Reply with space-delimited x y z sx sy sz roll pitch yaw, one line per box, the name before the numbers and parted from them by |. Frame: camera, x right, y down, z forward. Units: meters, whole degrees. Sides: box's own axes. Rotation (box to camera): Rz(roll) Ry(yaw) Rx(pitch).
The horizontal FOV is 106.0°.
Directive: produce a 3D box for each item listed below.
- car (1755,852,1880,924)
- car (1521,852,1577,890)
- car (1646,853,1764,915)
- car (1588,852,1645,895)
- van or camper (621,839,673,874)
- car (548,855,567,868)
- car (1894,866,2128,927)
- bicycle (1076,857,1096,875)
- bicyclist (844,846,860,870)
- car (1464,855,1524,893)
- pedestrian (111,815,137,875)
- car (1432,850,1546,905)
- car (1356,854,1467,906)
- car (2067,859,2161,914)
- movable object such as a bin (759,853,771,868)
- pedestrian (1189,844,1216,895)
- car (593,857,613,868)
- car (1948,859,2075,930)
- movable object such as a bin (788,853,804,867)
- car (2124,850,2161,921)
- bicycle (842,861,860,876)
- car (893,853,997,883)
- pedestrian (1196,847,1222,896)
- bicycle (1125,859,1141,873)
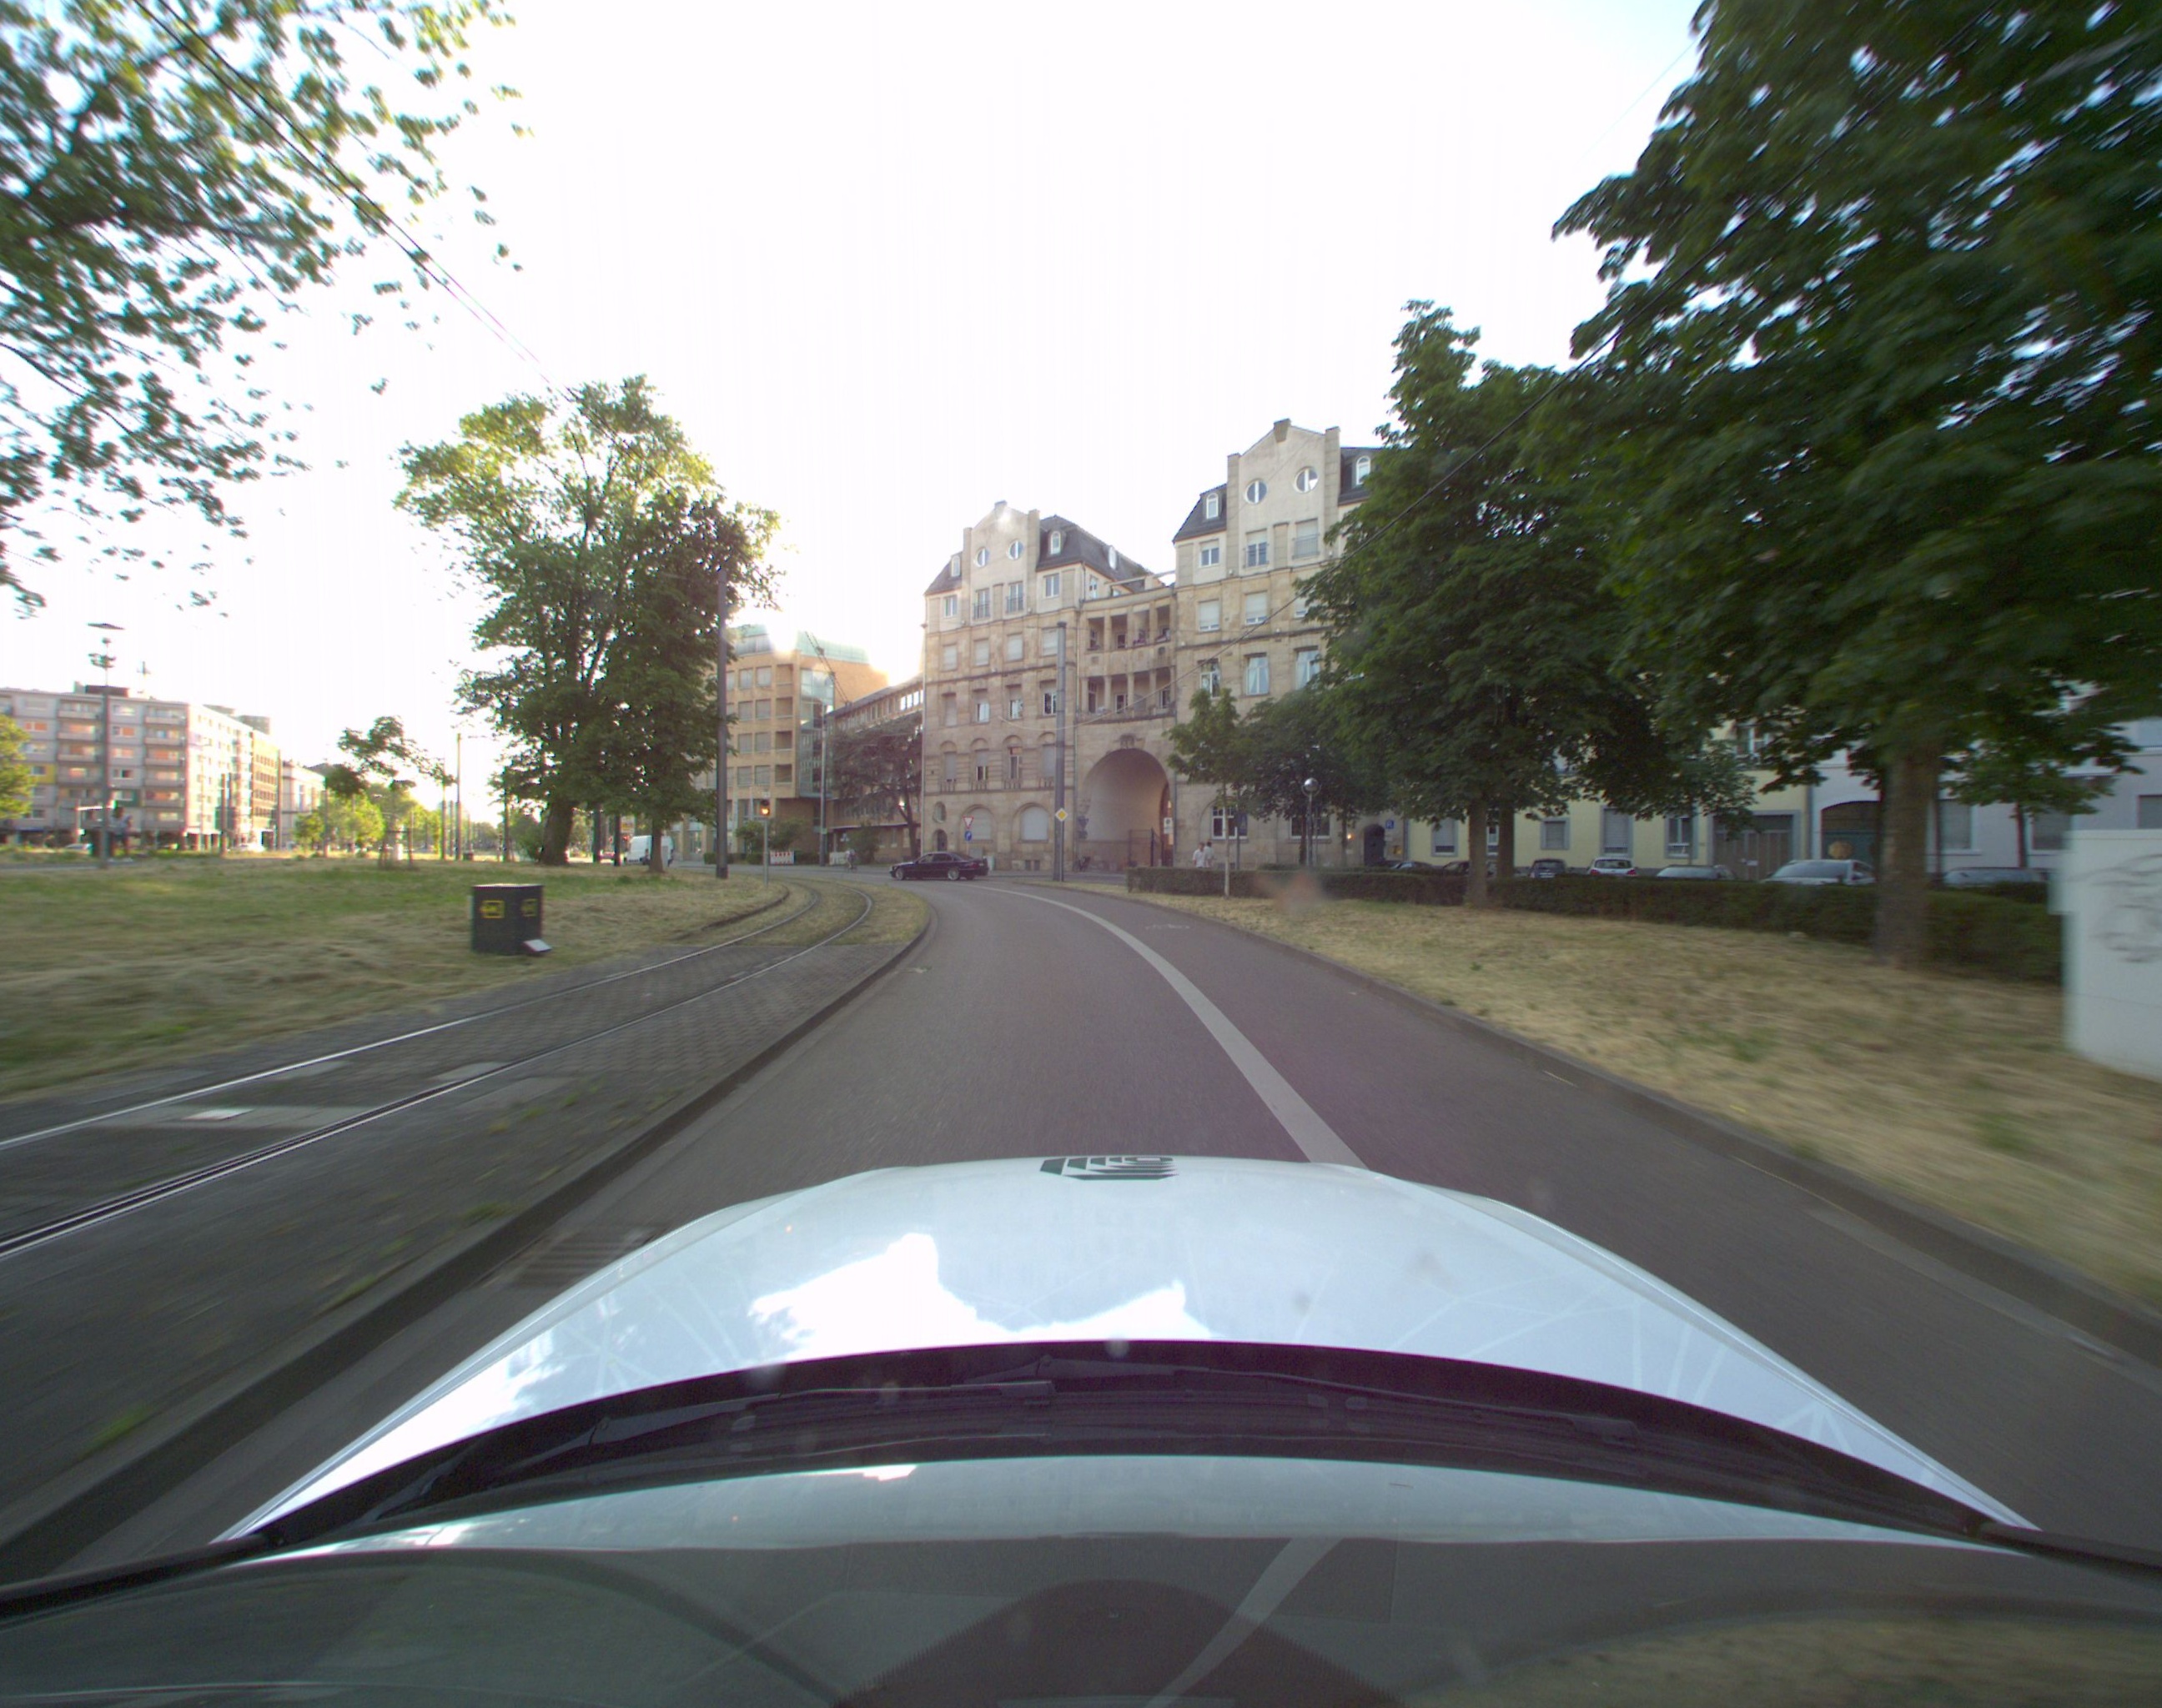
car | 18.940 0.773 20.899 4.090 1.618 1.976 0 1 -42
car | 20.211 0.695 35.094 1.814 1.485 4.094 1 1 34
car | 17.938 0.785 23.348 4.090 1.551 1.976 0 1 -42
car | 22.004 0.738 33.398 1.814 1.570 4.094 1 1 35
van or camper | -34.286 0.183 64.308 4.446 2.625 2.284 1 1 43
car | -62.761 0.885 97.589 1.750 1.385 3.957 0 1 -35
car | 26.533 1.158 23.463 4.082 1.482 1.833 1 1 33
bicycle | 0.343 0.777 53.002 0.424 1.073 1.868 1 1 32
bicyclist | -14.357 0.242 51.084 0.660 1.484 1.027 3 -2 -34
car | 18.573 0.840 36.525 1.814 1.558 4.427 1 1 34
pedestrian | -27.790 -0.262 23.640 0.825 1.690 0.479 0 0 40
car | 12.864 0.666 25.586 4.090 1.556 1.843 0 1 -42
car | 11.163 0.816 27.379 4.090 1.556 1.843 0 1 -42
car | 33.472 0.977 25.580 1.974 1.551 4.094 1 1 32
movable object such as a bin | -31.773 0.676 81.808 0.973 1.437 1.338 0 1 -17
pedestrian | 4.187 0.531 28.115 0.766 1.715 0.784 0 1 -6
car | -62.089 1.101 105.688 1.797 1.354 4.220 2 0 -36
car | 23.528 0.928 20.699 4.090 1.551 1.976 0 1 -42
movable object such as a bin | -29.084 0.584 83.107 1.352 1.424 0.913 0 1 -43
car | 25.772 0.699 18.657 4.090 1.551 1.976 0 1 -42
bicycle | -14.493 0.909 51.238 0.519 0.955 1.756 2 -1 -36
car | -6.618 0.685 39.744 4.590 1.354 1.844 -1 0 17
pedestrian | 4.771 0.639 30.287 0.593 1.792 0.815 0 0 -25
bicycle | 3.715 0.875 58.120 0.476 0.955 1.522 1 1 32
